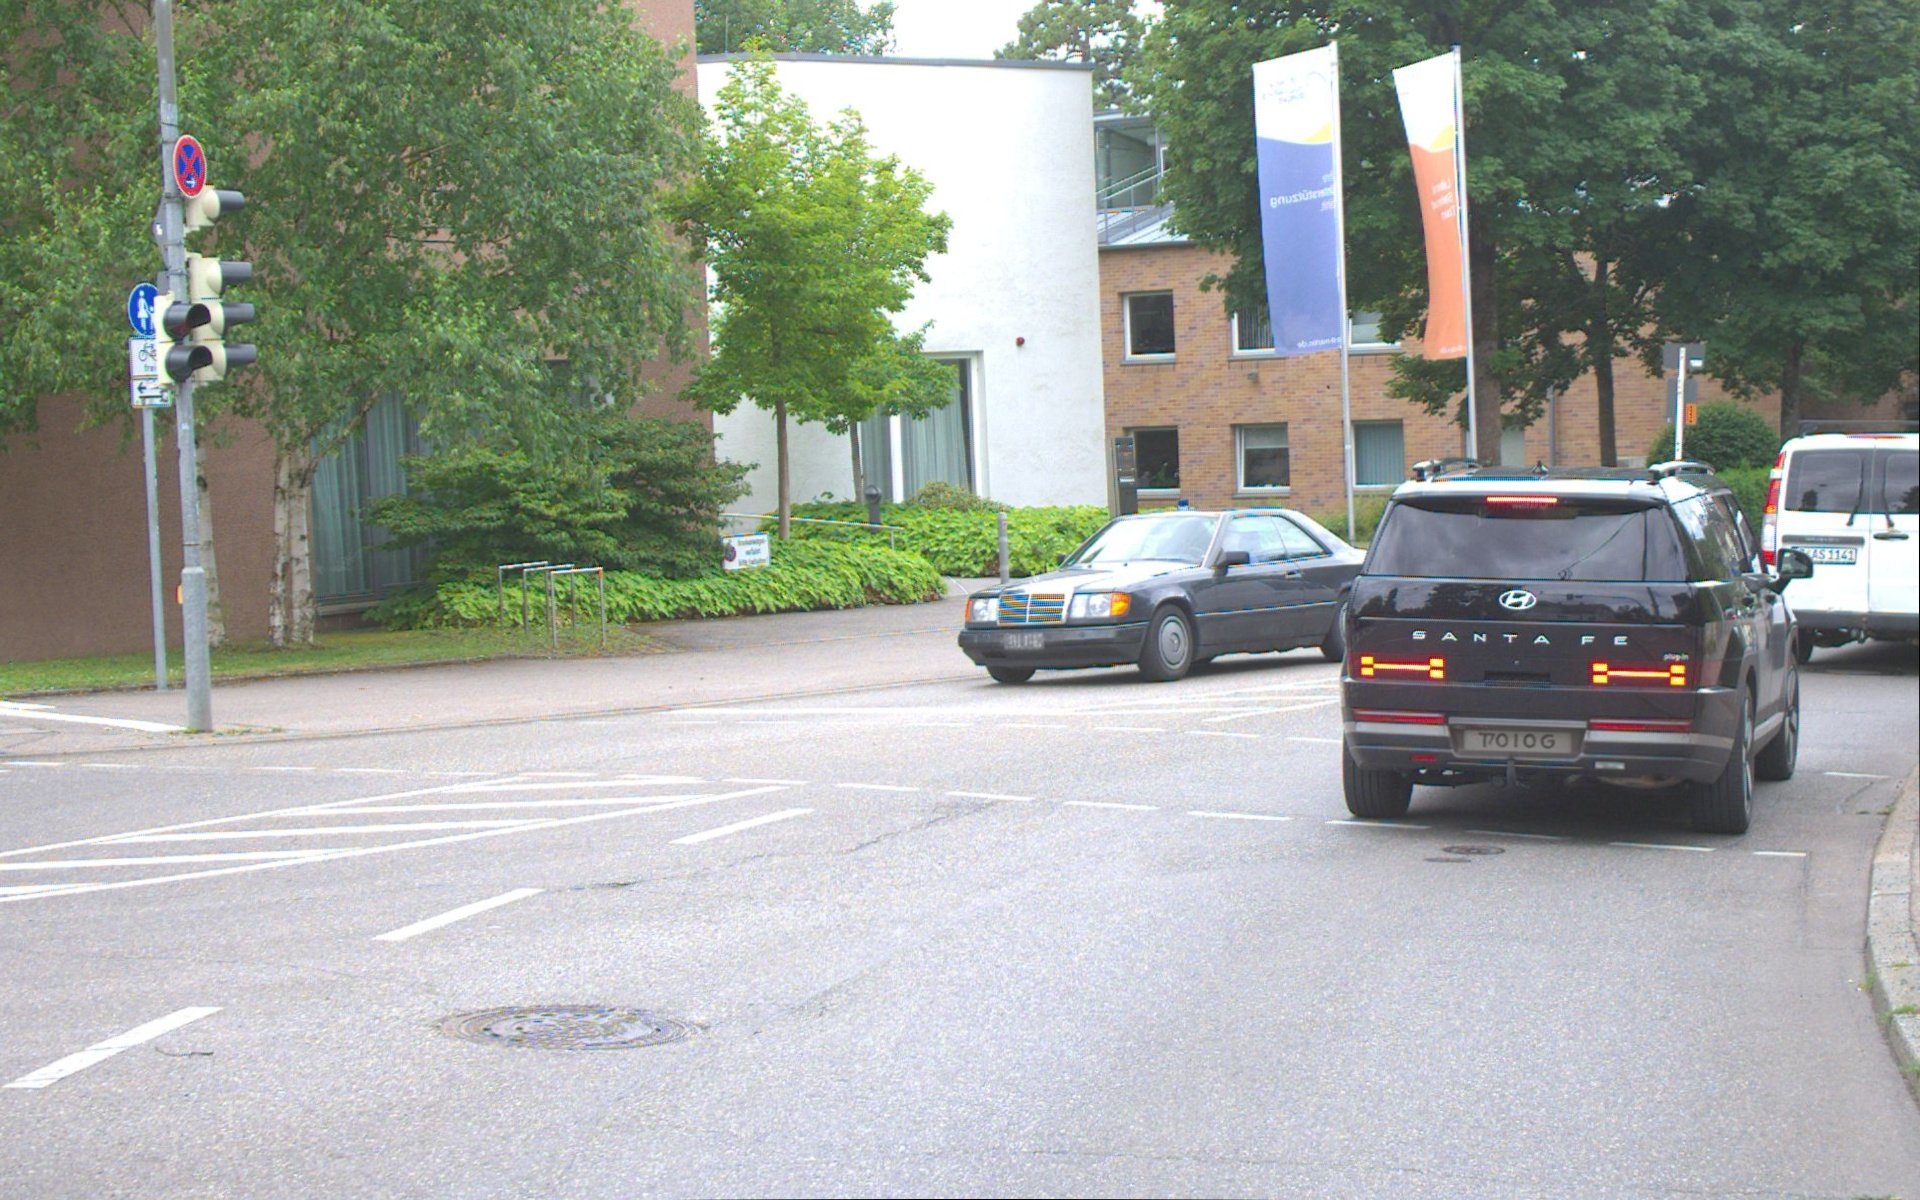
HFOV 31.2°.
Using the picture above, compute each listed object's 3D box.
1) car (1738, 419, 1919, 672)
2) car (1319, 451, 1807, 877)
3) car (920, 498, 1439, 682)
[{"bbox_3d":[8.043,-0.527,28.609,1.960,1.949,4.217,1,3,29],"label":"car"},{"bbox_3d":[3.148,0.183,17.252,1.958,1.706,4.221,2,4,15],"label":"car"},{"bbox_3d":[1.924,-0.119,28.499,1.850,1.323,4.858,-1,2,38],"label":"car"}]
